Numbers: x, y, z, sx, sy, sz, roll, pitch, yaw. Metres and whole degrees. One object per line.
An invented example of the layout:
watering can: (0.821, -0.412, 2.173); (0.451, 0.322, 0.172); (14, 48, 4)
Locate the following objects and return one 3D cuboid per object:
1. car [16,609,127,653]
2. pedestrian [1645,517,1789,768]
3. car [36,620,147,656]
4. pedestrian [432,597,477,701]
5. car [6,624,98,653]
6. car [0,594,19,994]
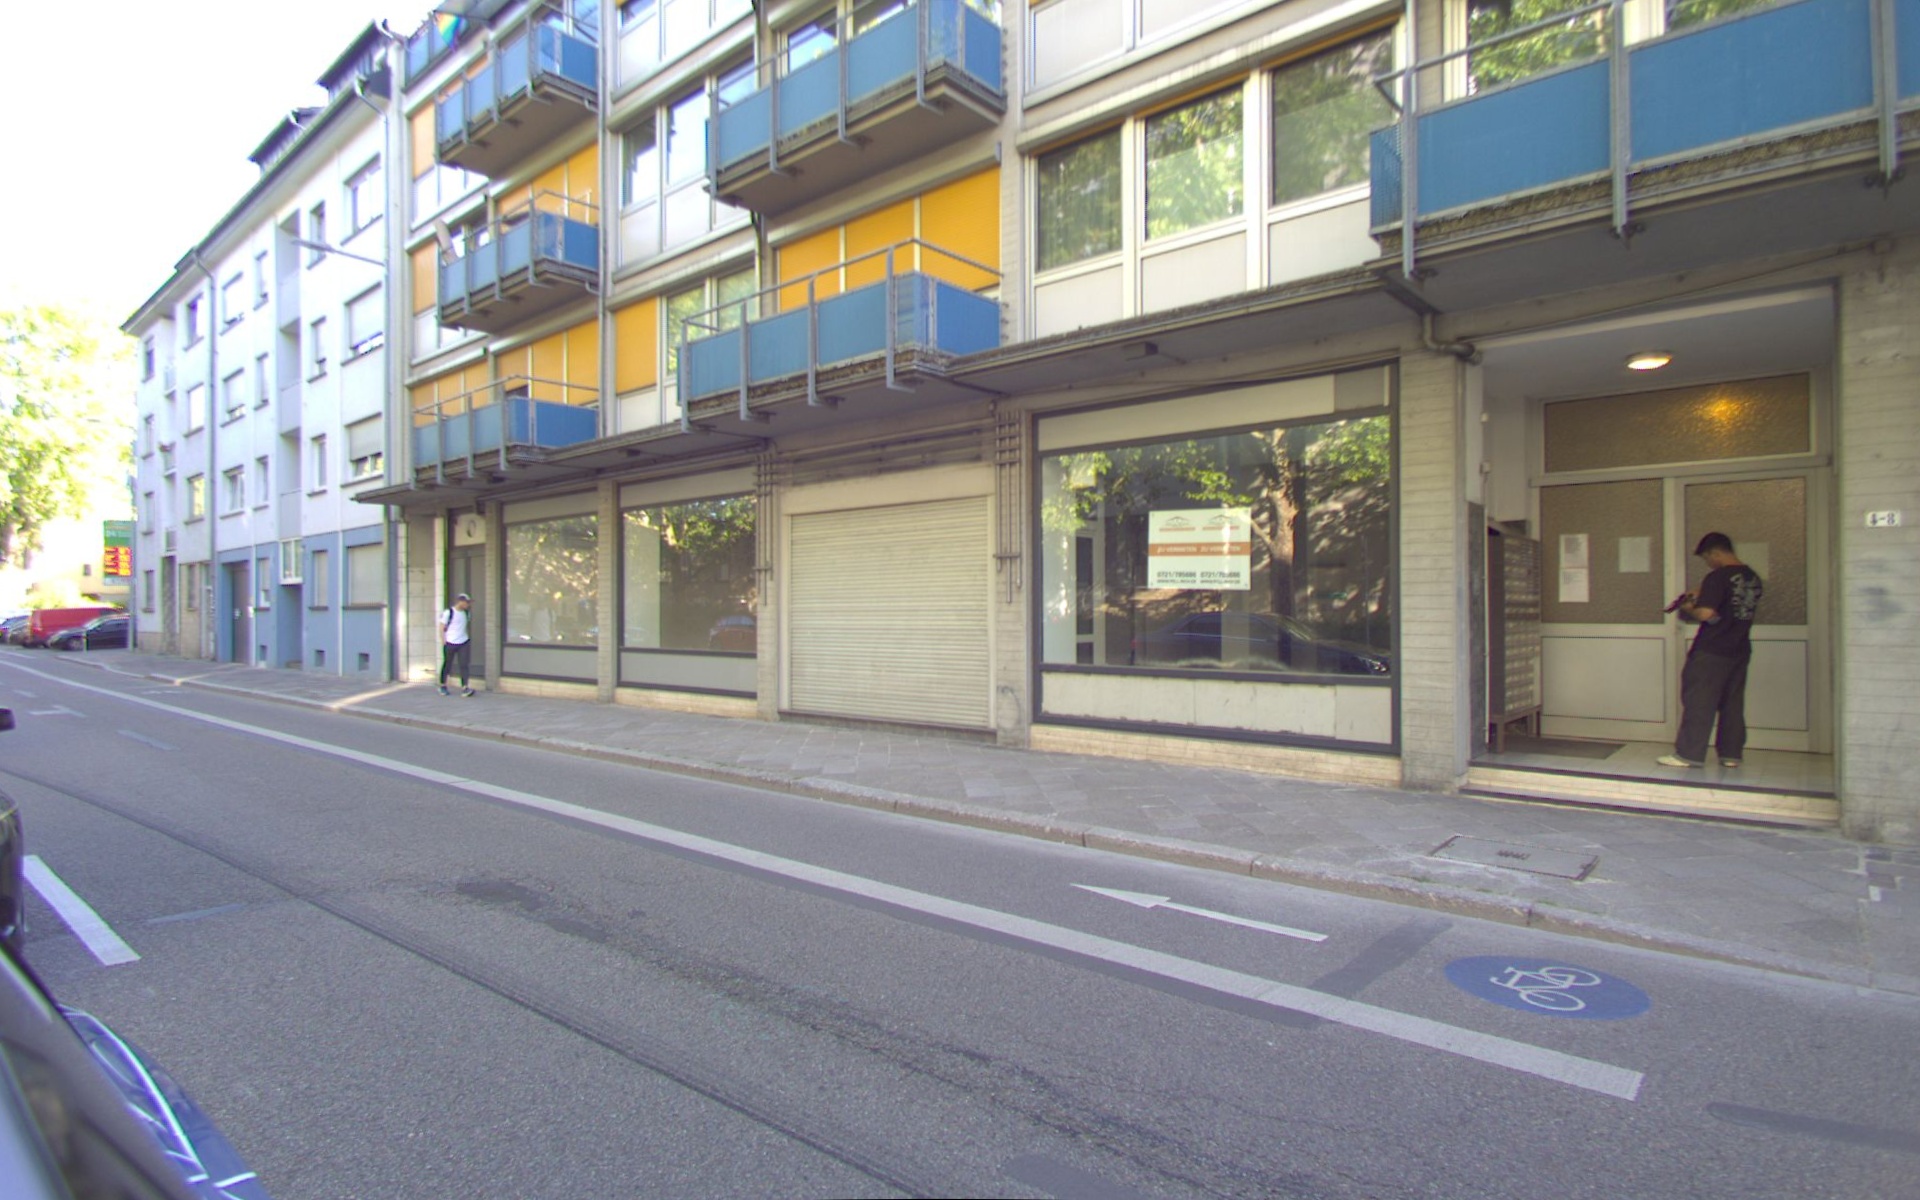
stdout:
car: (-43.404, 1.488, 49.500); (1.635, 1.937, 3.878); (-1, 0, 40)
pedestrian: (5.510, 0.302, 7.395); (0.623, 1.754, 0.526); (-1, -1, 8)
car: (-39.436, 1.707, 46.006); (1.635, 1.422, 3.623); (-1, 0, 40)
pedestrian: (-8.726, 0.834, 17.471); (0.343, 1.739, 0.562); (-1, 0, 41)
car: (-45.621, 1.920, 50.886); (1.294, 1.258, 3.283); (-1, 0, 40)
car: (-5.646, 0.769, 4.444); (4.123, 1.475, 1.781); (-1, 0, 41)
